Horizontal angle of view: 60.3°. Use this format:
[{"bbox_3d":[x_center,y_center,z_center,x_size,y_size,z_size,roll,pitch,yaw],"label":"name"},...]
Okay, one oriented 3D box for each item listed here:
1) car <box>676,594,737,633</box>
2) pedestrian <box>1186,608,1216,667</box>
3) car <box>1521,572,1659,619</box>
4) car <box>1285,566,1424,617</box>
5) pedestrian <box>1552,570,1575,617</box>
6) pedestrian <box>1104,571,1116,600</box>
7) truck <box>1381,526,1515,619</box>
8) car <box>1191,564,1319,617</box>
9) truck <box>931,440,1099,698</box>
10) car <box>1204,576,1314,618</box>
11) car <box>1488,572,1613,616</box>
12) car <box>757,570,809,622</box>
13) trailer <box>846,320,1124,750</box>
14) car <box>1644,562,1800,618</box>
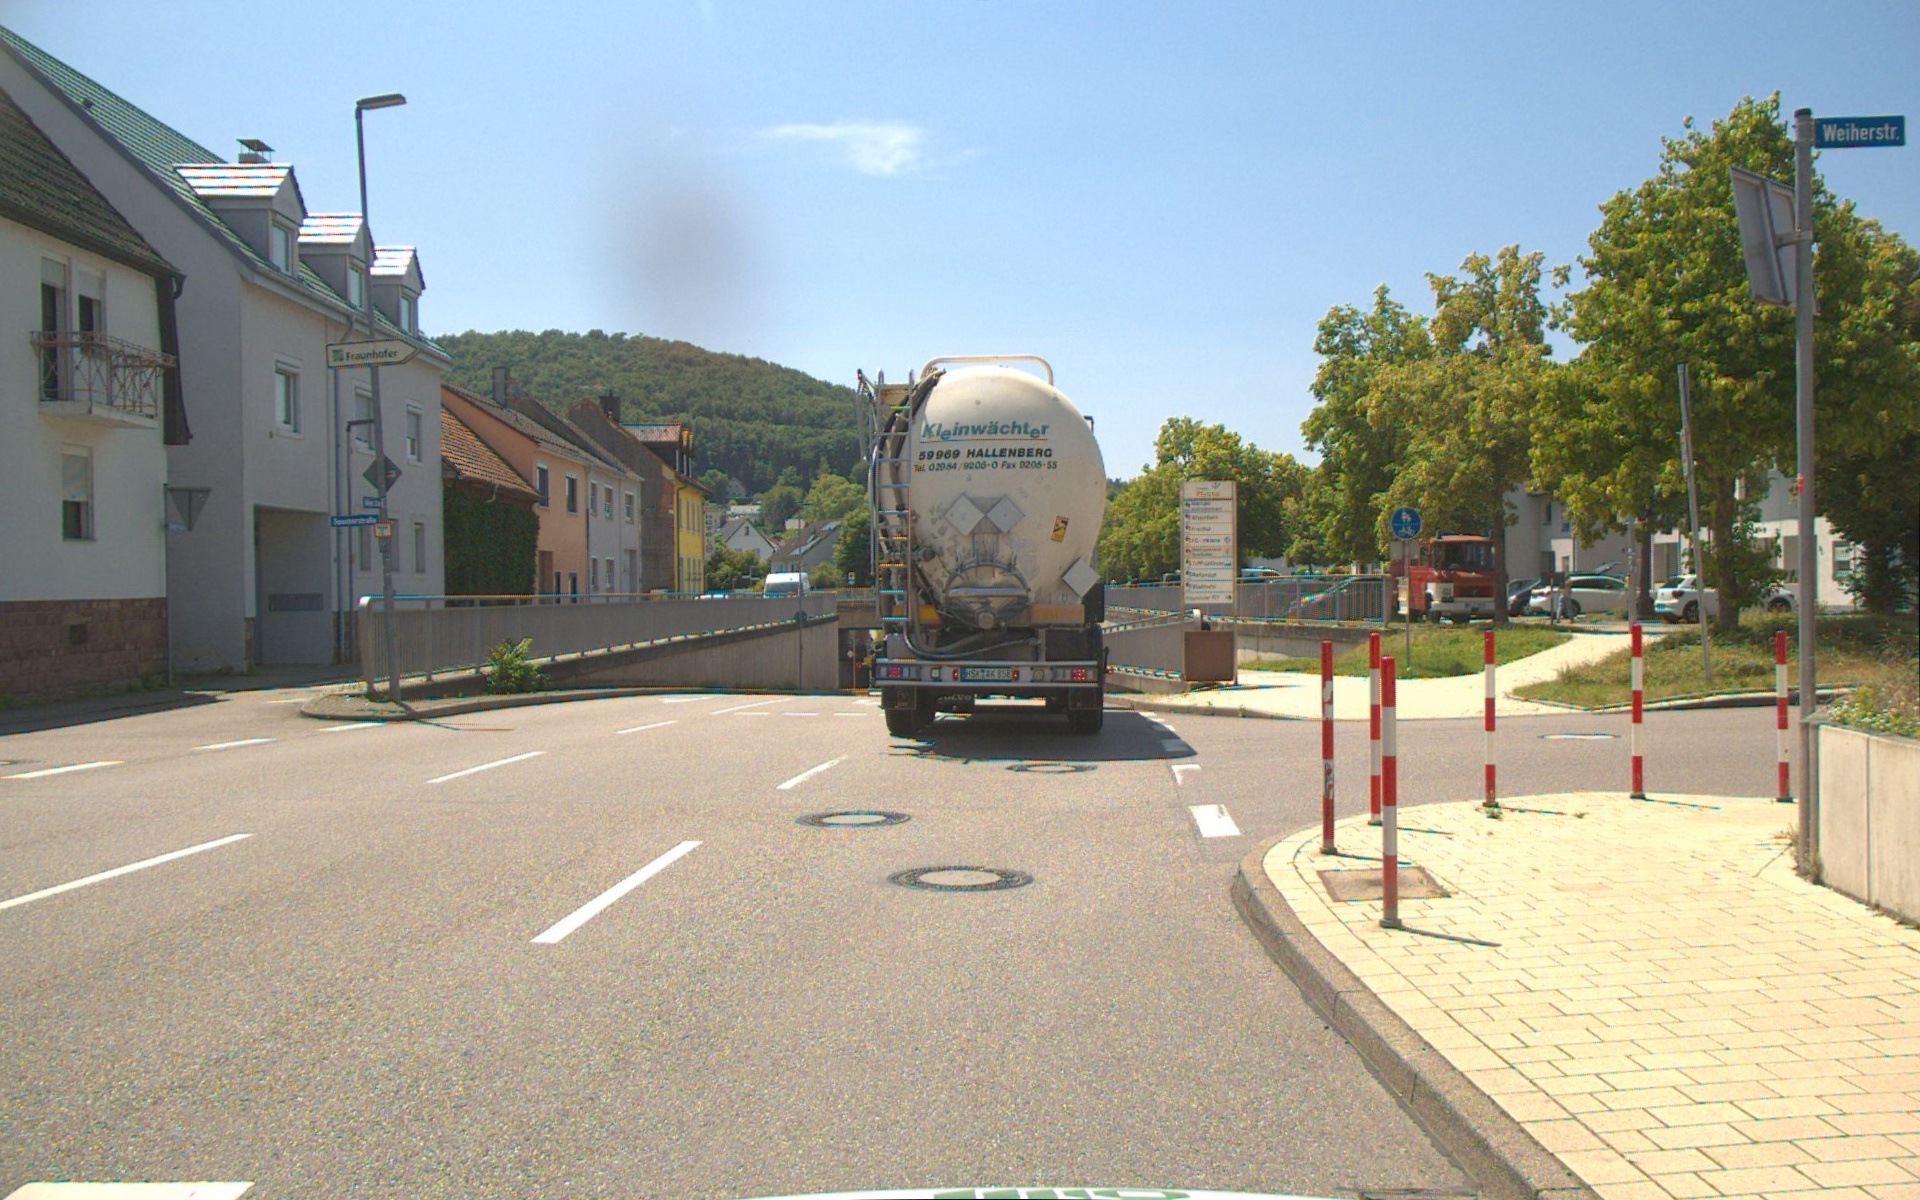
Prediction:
[{"bbox_3d":[-10.043,0.516,65.834,1.776,1.488,4.309,1,0,0],"label":"car"},{"bbox_3d":[7.605,1.191,52.139,0.819,1.813,0.788,-1,-3,1],"label":"pedestrian"},{"bbox_3d":[22.903,-0.153,60.201,4.315,1.516,1.758,-2,0,1],"label":"car"},{"bbox_3d":[12.211,-0.267,51.361,3.904,1.525,1.749,-1,0,2],"label":"car"},{"bbox_3d":[20.511,-0.214,56.212,0.600,1.537,0.741,-3,0,26],"label":"pedestrian"},{"bbox_3d":[9.503,-0.891,104.718,0.659,1.811,0.594,-1,-1,2],"label":"pedestrian"},{"bbox_3d":[13.215,-0.701,45.160,2.088,2.375,5.259,0,0,0],"label":"truck"},{"bbox_3d":[12.241,-0.379,68.800,5.006,2.099,1.989,-1,0,1],"label":"car"},{"bbox_3d":[1.083,-0.452,29.863,2.677,4.136,6.531,0,-1,3],"label":"truck"},{"bbox_3d":[11.896,-0.122,66.006,4.117,1.624,1.686,-1,0,1],"label":"car"},{"bbox_3d":[23.336,-0.231,65.458,4.315,1.516,1.758,-2,0,1],"label":"car"},{"bbox_3d":[-9.187,-0.180,86.269,2.023,2.581,5.661,1,0,0],"label":"car"},{"bbox_3d":[0.644,-0.538,22.634,2.677,4.136,13.317,0,-1,4],"label":"trailer"},{"bbox_3d":[22.967,-0.300,49.923,3.856,1.504,1.758,-2,0,1],"label":"car"}]
